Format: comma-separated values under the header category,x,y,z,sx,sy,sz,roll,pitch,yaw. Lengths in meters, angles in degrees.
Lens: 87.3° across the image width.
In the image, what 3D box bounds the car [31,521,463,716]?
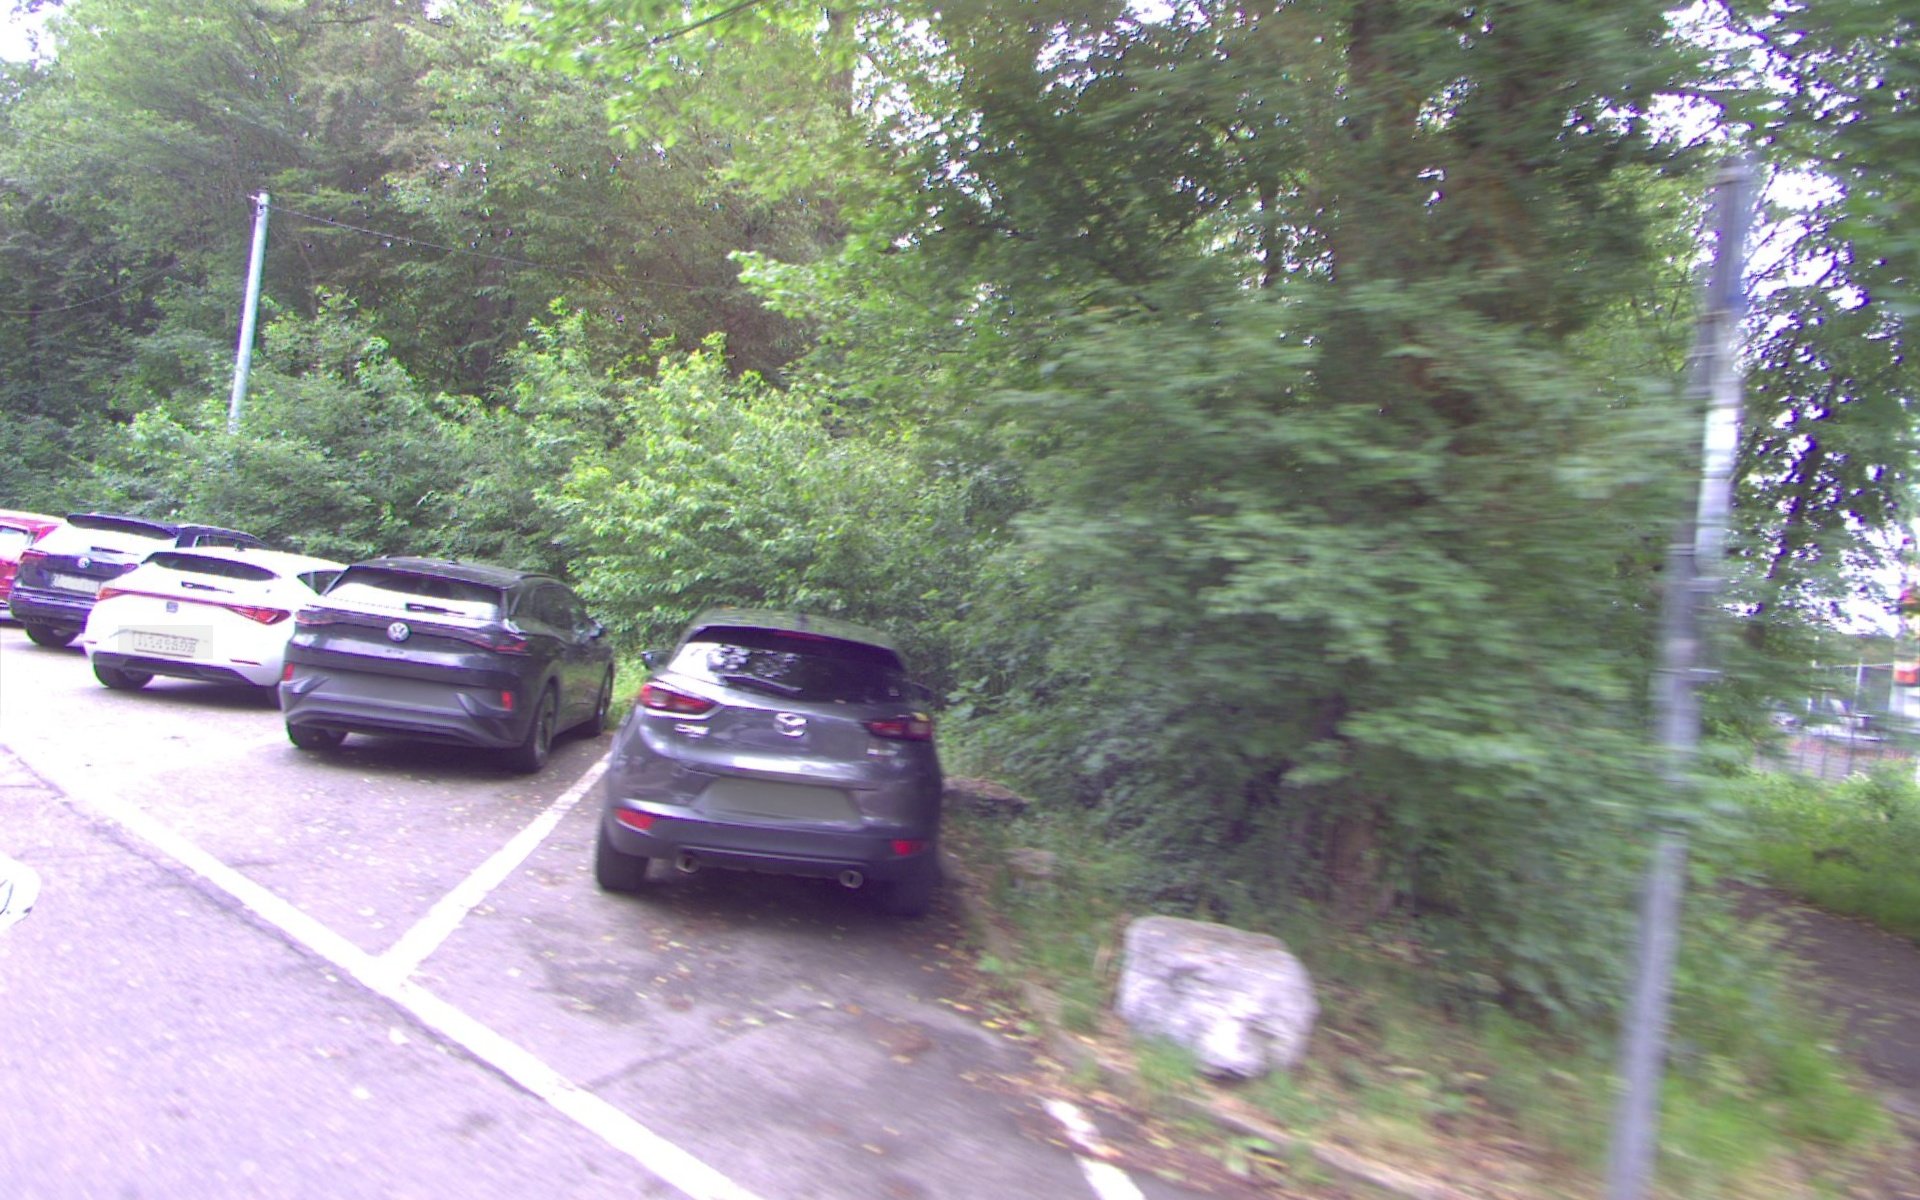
category,x,y,z,sx,sy,sz,roll,pitch,yaw
car,-7.188,0.231,10.796,1.837,1.455,4.119,8,-2,-6

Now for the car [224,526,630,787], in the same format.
category,x,y,z,sx,sy,sz,roll,pitch,yaw
car,-4.397,0.461,9.161,1.926,1.598,4.198,8,-2,-11

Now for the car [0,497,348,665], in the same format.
category,x,y,z,sx,sy,sz,roll,pitch,yaw
car,-10.088,-0.148,13.130,1.810,1.636,4.119,8,-2,-6

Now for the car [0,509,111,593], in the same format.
category,x,y,z,sx,sy,sz,roll,pitch,yaw
car,-18.726,-1.041,19.188,1.774,1.474,4.183,8,-2,-8

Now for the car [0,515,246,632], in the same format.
category,x,y,z,sx,sy,sz,roll,pitch,yaw
car,-12.968,-0.365,14.838,1.894,1.429,4.297,8,-2,-4

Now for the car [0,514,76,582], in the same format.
category,x,y,z,sx,sy,sz,roll,pitch,yaw
car,-21.823,-1.297,21.814,1.933,1.393,4.257,8,-2,-11

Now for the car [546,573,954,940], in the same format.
category,x,y,z,sx,sy,sz,roll,pitch,yaw
car,-1.258,0.788,6.511,1.671,1.509,3.788,8,-2,-10

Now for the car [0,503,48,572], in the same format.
category,x,y,z,sx,sy,sz,roll,pitch,yaw
car,-24.872,-1.735,24.345,1.932,1.655,4.259,8,-2,-8

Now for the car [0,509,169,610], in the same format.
category,x,y,z,sx,sy,sz,roll,pitch,yaw
car,-15.960,-0.716,17.486,1.705,1.522,3.581,8,-2,-7
